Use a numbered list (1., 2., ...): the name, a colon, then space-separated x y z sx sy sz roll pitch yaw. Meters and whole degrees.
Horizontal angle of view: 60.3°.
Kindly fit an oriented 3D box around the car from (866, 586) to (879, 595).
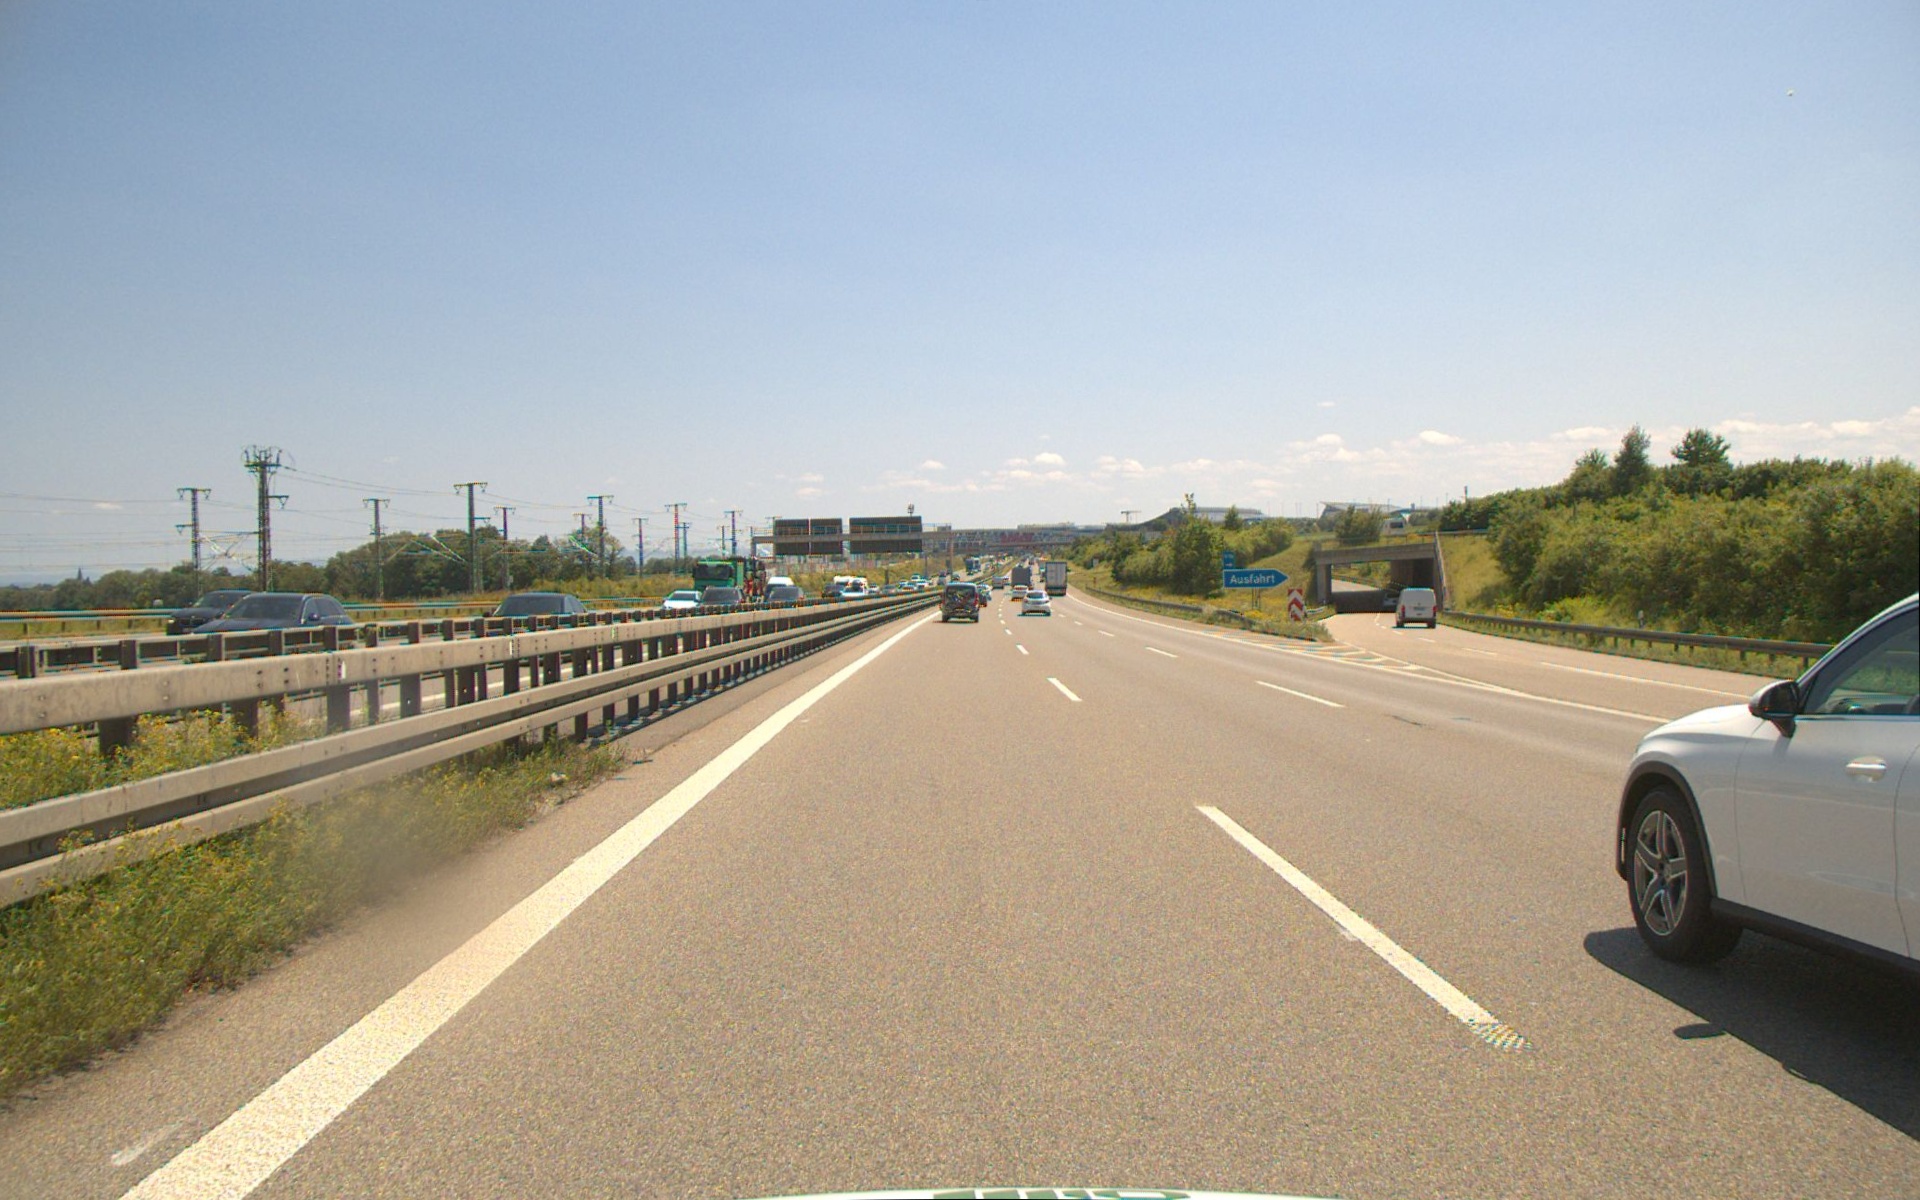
1. car: -13.637 -1.486 258.410 1.729 1.370 4.000 0 0 1

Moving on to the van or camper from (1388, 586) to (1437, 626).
1. van or camper: 23.631 0.342 86.455 2.110 2.049 4.308 0 -1 11

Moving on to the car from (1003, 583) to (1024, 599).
1. car: 5.197 -0.837 161.701 1.941 1.499 4.000 0 0 1

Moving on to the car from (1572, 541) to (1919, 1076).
1. car: 3.938 0.664 5.656 1.859 1.676 4.998 0 -1 0

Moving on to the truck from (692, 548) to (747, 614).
1. truck: -16.400 -1.235 113.163 2.703 4.319 6.977 0 -1 0

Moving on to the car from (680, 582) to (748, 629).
1. car: -9.111 0.186 61.689 1.720 1.698 4.698 0 0 1

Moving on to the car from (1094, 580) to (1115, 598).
1. car: 16.466 -1.270 189.067 1.887 1.952 4.516 0 -1 -1

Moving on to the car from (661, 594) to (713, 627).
1. car: -13.023 0.471 79.124 1.720 1.507 4.634 0 0 -1

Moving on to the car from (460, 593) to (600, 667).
1. car: -9.343 0.601 36.319 1.804 1.486 4.996 0 0 -1

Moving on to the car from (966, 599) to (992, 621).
1. car: 1.494 0.791 127.941 1.886 1.656 4.518 0 -1 2

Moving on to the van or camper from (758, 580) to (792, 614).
1. van or camper: -12.554 -0.223 112.457 1.720 2.260 4.941 0 0 -1

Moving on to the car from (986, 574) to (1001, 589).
1. car: 5.159 -2.843 253.915 2.141 2.037 4.001 1 3 -1

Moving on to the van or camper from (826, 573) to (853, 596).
1. van or camper: -14.021 -1.800 193.304 2.465 2.711 8.065 0 0 1

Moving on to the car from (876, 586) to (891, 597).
1. car: -9.511 -1.103 206.591 1.658 1.370 4.000 0 0 1

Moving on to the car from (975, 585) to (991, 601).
1. car: 2.282 -0.690 165.599 1.543 1.579 3.965 0 -1 2

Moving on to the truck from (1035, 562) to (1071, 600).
1. truck: 11.346 -2.430 203.046 3.956 4.336 11.760 0 2 1

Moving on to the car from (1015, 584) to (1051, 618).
1. car: 4.323 0.094 98.409 1.887 1.952 4.516 0 -1 -1

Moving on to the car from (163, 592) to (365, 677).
1. car: -13.196 0.590 31.721 1.804 1.486 4.996 0 0 -1

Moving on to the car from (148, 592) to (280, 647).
1. car: -20.522 0.502 45.693 1.661 1.450 4.454 0 0 -1

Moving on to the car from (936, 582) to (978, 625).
1. car: -0.111 0.195 78.616 1.887 1.952 4.948 0 -1 1

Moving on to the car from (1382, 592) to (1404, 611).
1. car: 41.771 0.195 159.520 1.951 1.780 4.003 0 -1 14

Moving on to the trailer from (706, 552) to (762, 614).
1. trailer: -16.512 -1.161 121.530 2.703 4.319 11.199 0 -1 -1

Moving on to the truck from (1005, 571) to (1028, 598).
1. truck: 7.220 -1.945 212.250 2.647 3.163 10.659 0 -1 1

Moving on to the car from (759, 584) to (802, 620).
1. car: -9.191 0.088 84.862 1.720 1.772 4.721 0 0 -1
